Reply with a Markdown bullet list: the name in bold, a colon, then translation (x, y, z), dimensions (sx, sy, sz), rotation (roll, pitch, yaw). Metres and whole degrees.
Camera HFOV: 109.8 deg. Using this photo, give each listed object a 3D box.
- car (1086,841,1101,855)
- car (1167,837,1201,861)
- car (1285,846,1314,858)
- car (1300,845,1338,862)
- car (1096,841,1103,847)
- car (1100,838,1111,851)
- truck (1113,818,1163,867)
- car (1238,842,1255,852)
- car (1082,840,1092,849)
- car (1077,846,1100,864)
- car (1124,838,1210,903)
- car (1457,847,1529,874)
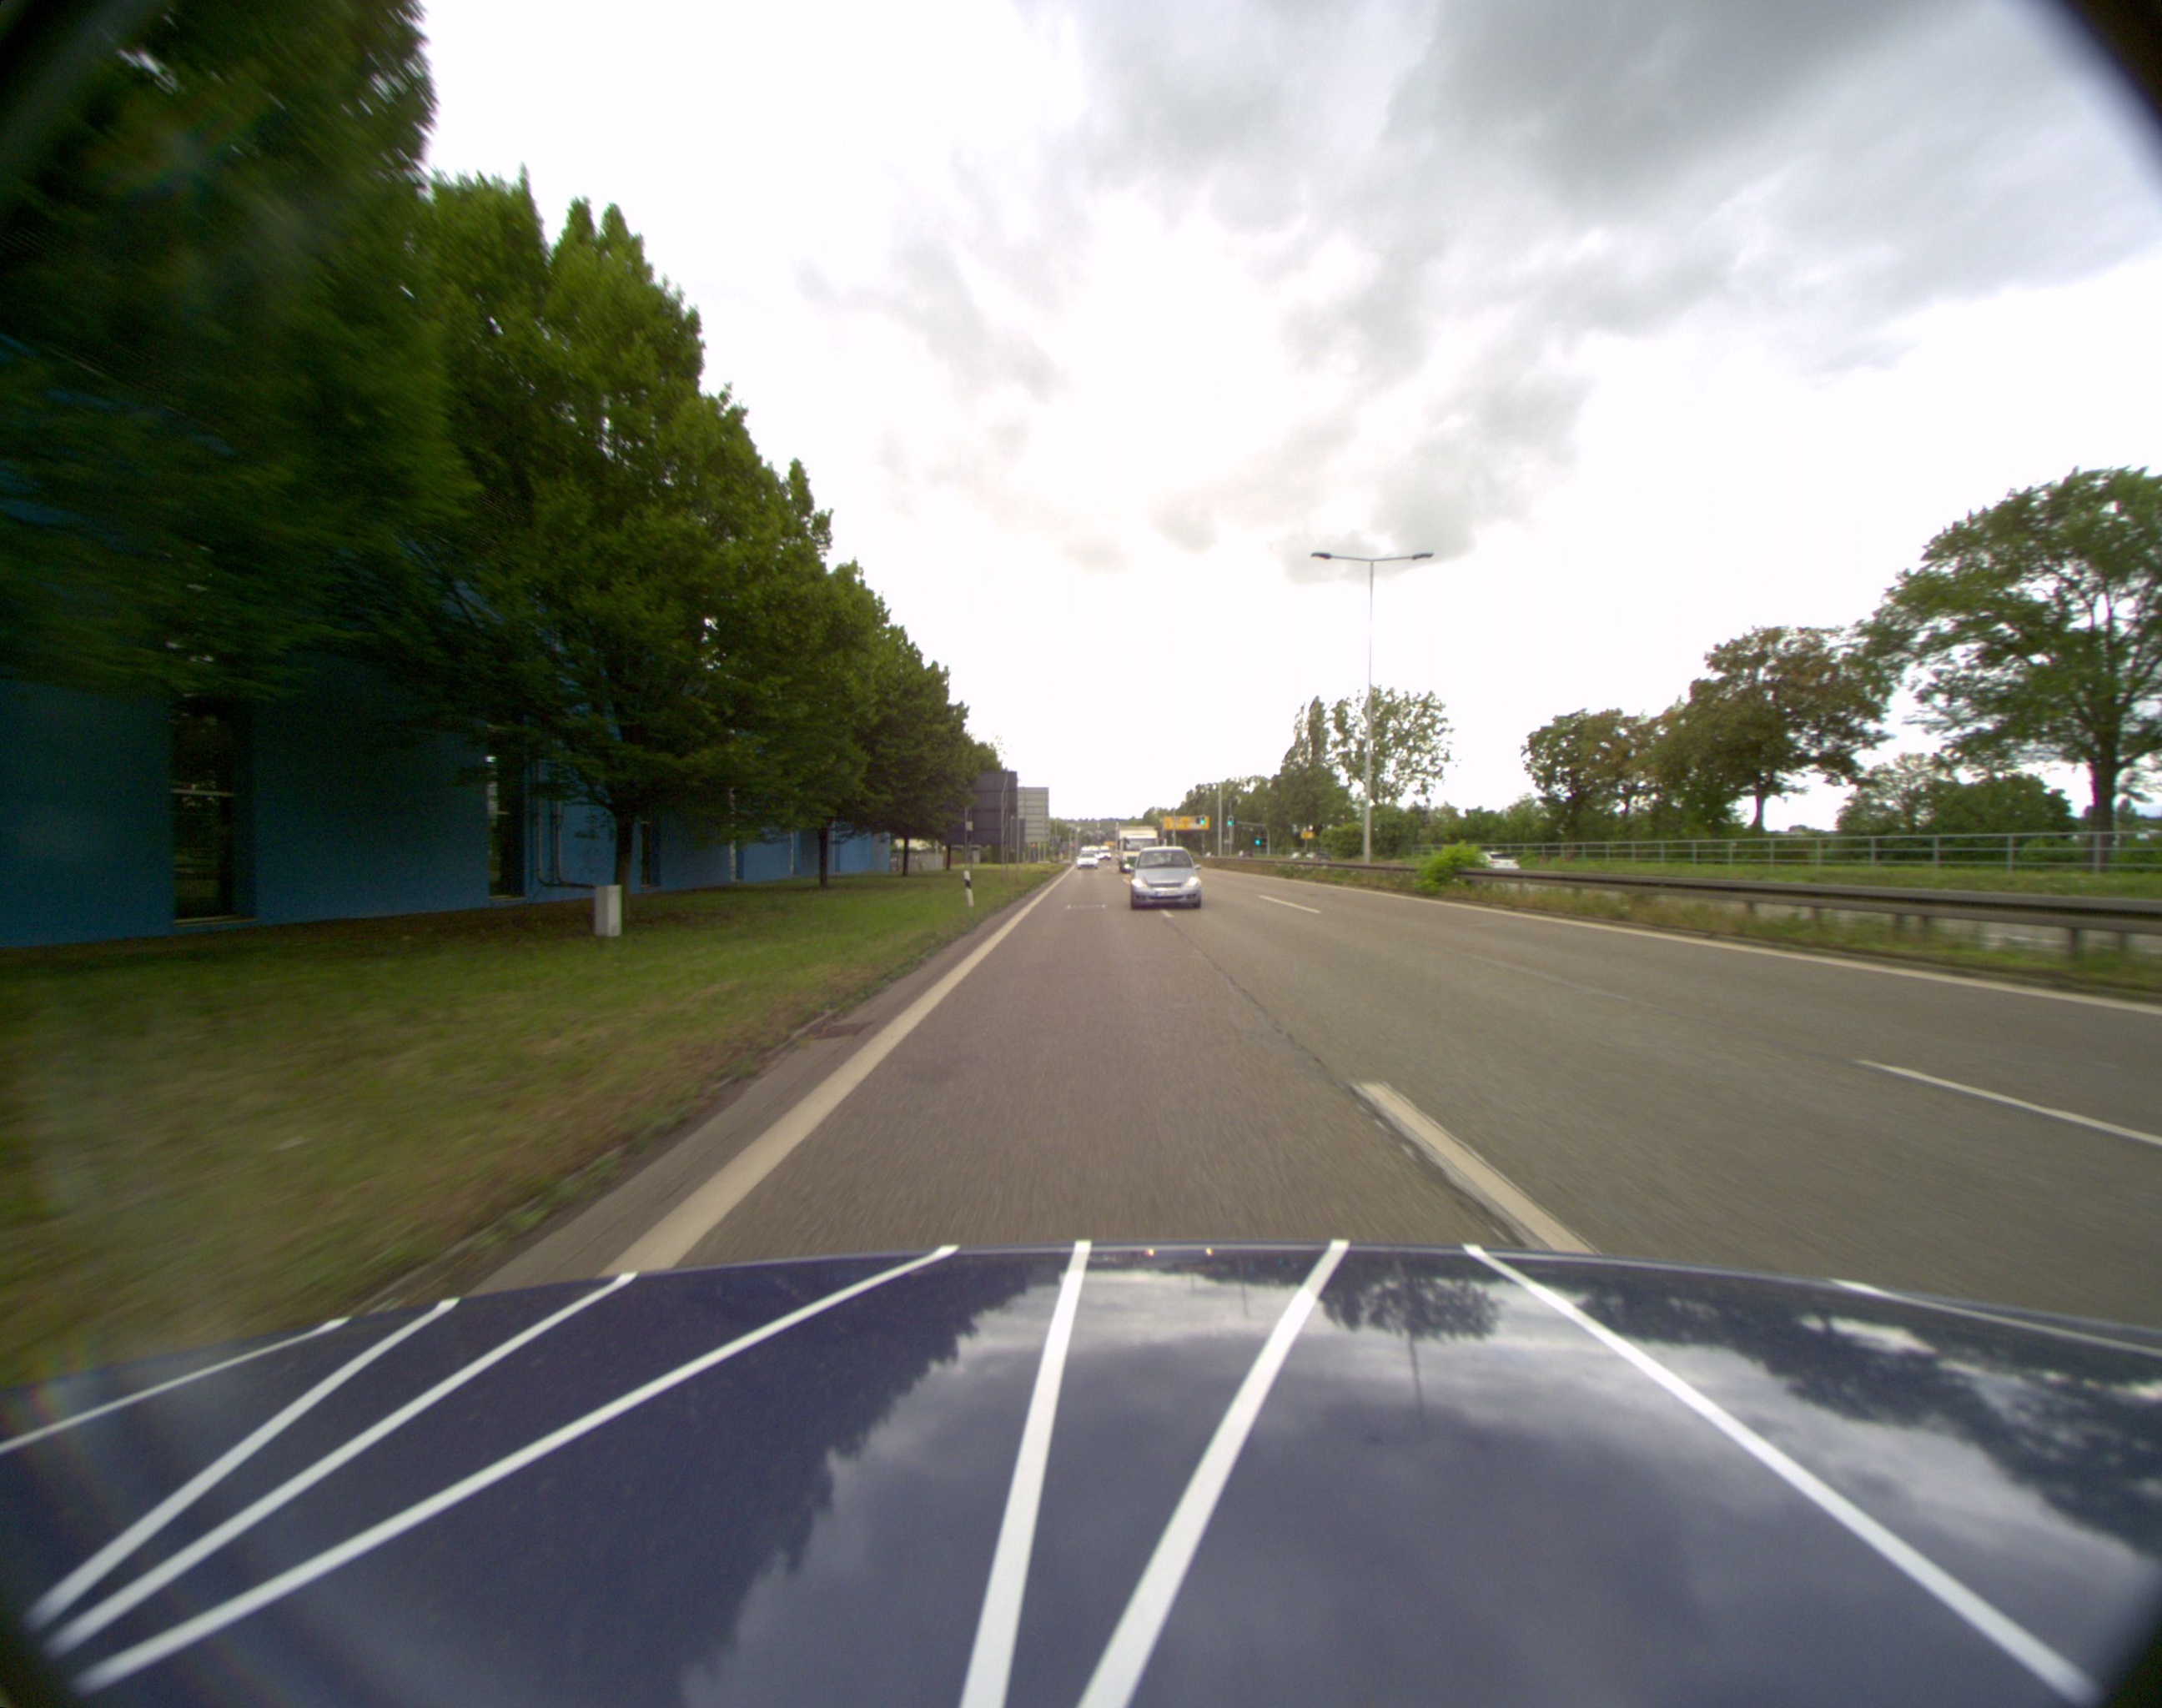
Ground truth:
- **car**: translation (1.643, -0.810, 101.260), dimensions (1.883, 1.715, 4.146), rotation (-1, 0, 0)
- **car**: translation (7.579, -0.347, 56.311), dimensions (1.883, 1.715, 4.146), rotation (-1, 0, 0)
- **car**: translation (23.100, -0.213, 80.579), dimensions (1.664, 1.291, 4.787), rotation (-1, 0, 0)
- **car**: translation (19.818, -0.044, 63.403), dimensions (1.664, 1.291, 4.787), rotation (-1, 0, 0)
- **car**: translation (5.448, -2.866, 223.465), dimensions (1.949, 1.811, 3.999), rotation (-1, 0, 0)
- **car**: translation (4.466, -1.733, 139.943), dimensions (1.949, 2.176, 3.999), rotation (-1, 0, 0)
- **truck**: translation (3.983, -0.766, 55.480), dimensions (2.657, 3.121, 12.507), rotation (-1, 0, 0)
- **car**: translation (24.180, -1.022, 111.246), dimensions (1.582, 1.291, 4.061), rotation (-1, 0, 1)
- **car**: translation (1.253, -1.883, 154.876), dimensions (1.949, 1.811, 3.999), rotation (-1, 0, 0)
- **car**: translation (0.649, 0.090, 67.510), dimensions (1.949, 1.517, 3.999), rotation (-1, 0, 0)
- **car**: translation (2.192, 0.392, 20.353), dimensions (1.883, 1.530, 4.146), rotation (-1, 0, 1)
- **car**: translation (23.373, 0.347, 43.330), dimensions (1.883, 1.481, 4.202), rotation (-1, 0, 1)
